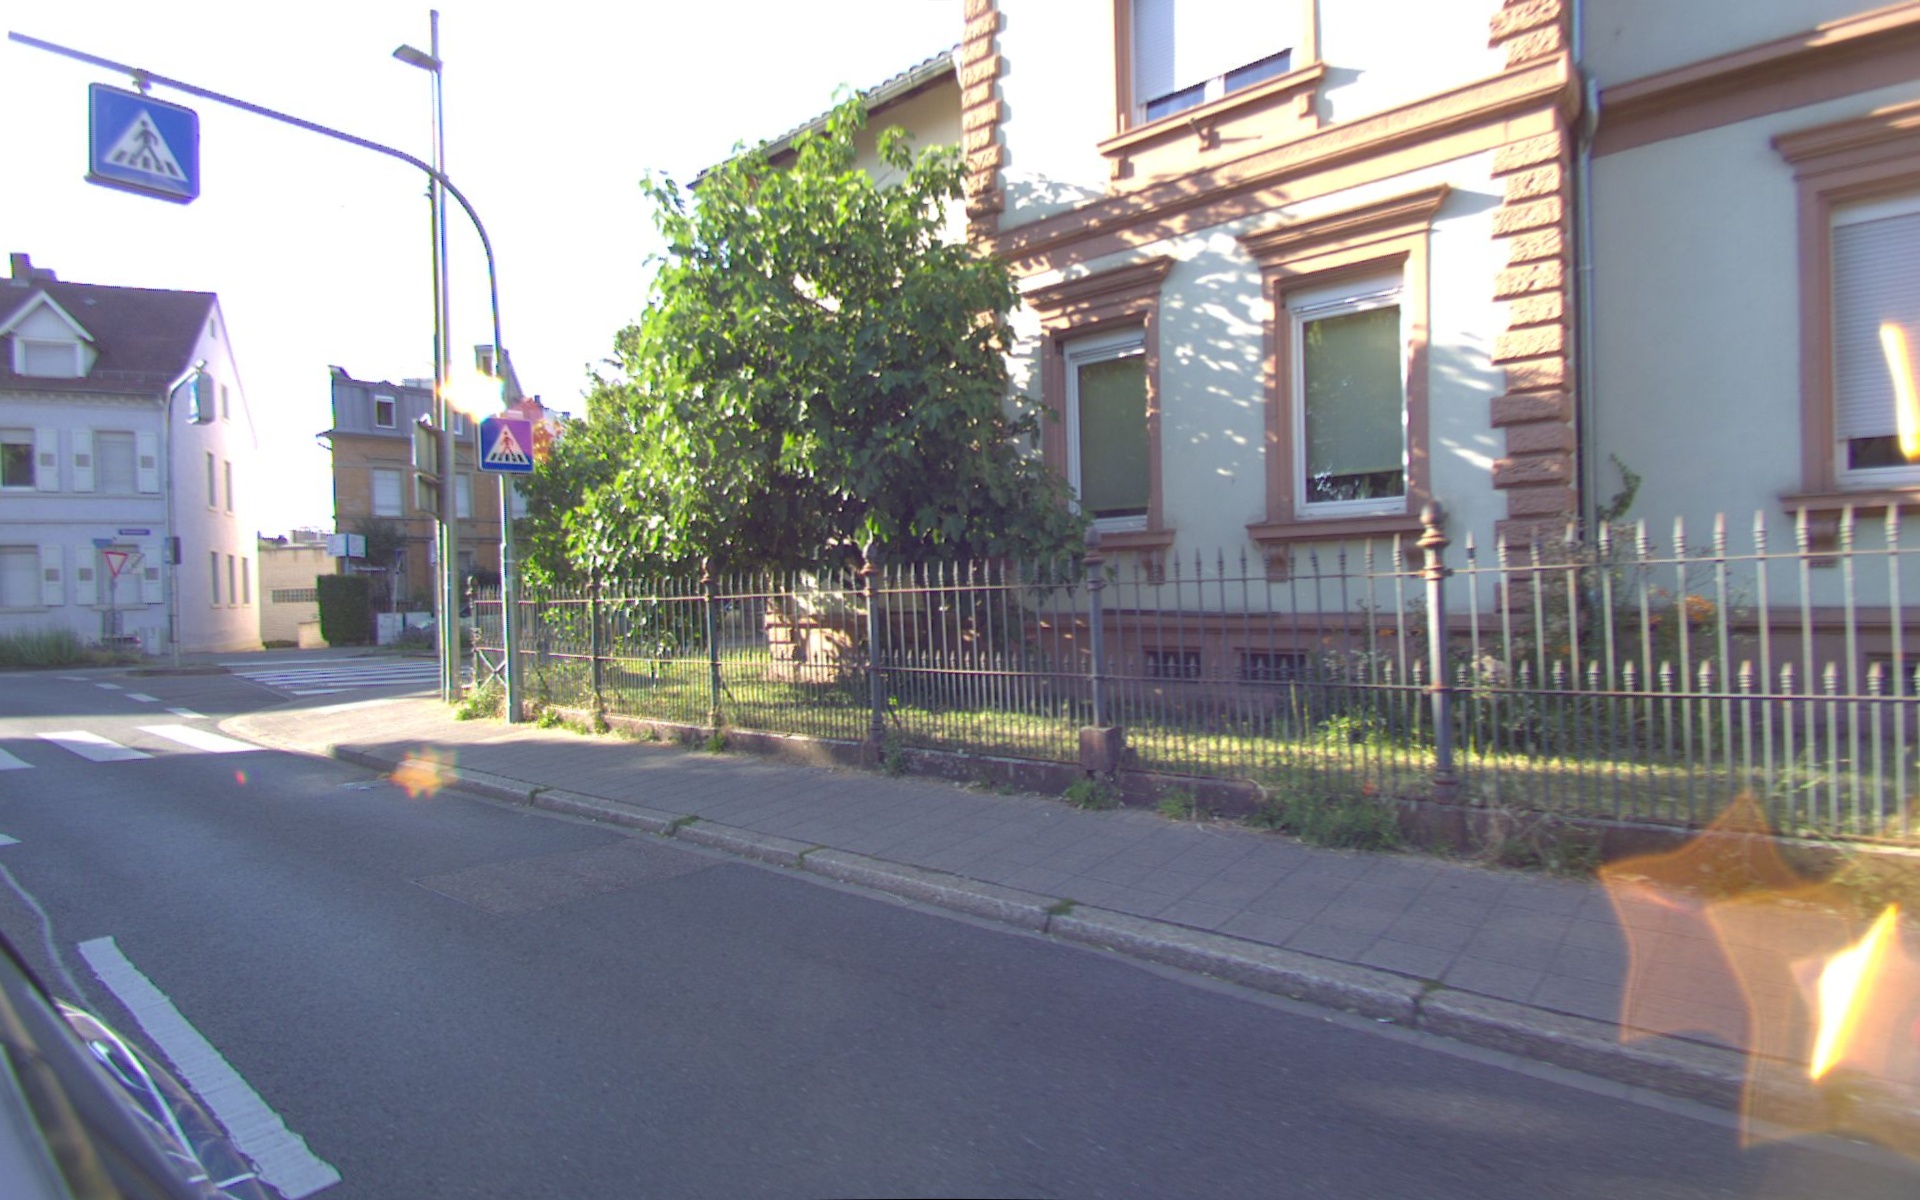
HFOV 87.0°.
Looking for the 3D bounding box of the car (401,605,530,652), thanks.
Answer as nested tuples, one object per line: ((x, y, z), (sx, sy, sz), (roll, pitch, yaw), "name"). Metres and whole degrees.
((-17.783, 0.990, 36.487), (1.702, 1.465, 3.827), (-1, 1, 44), "car")
